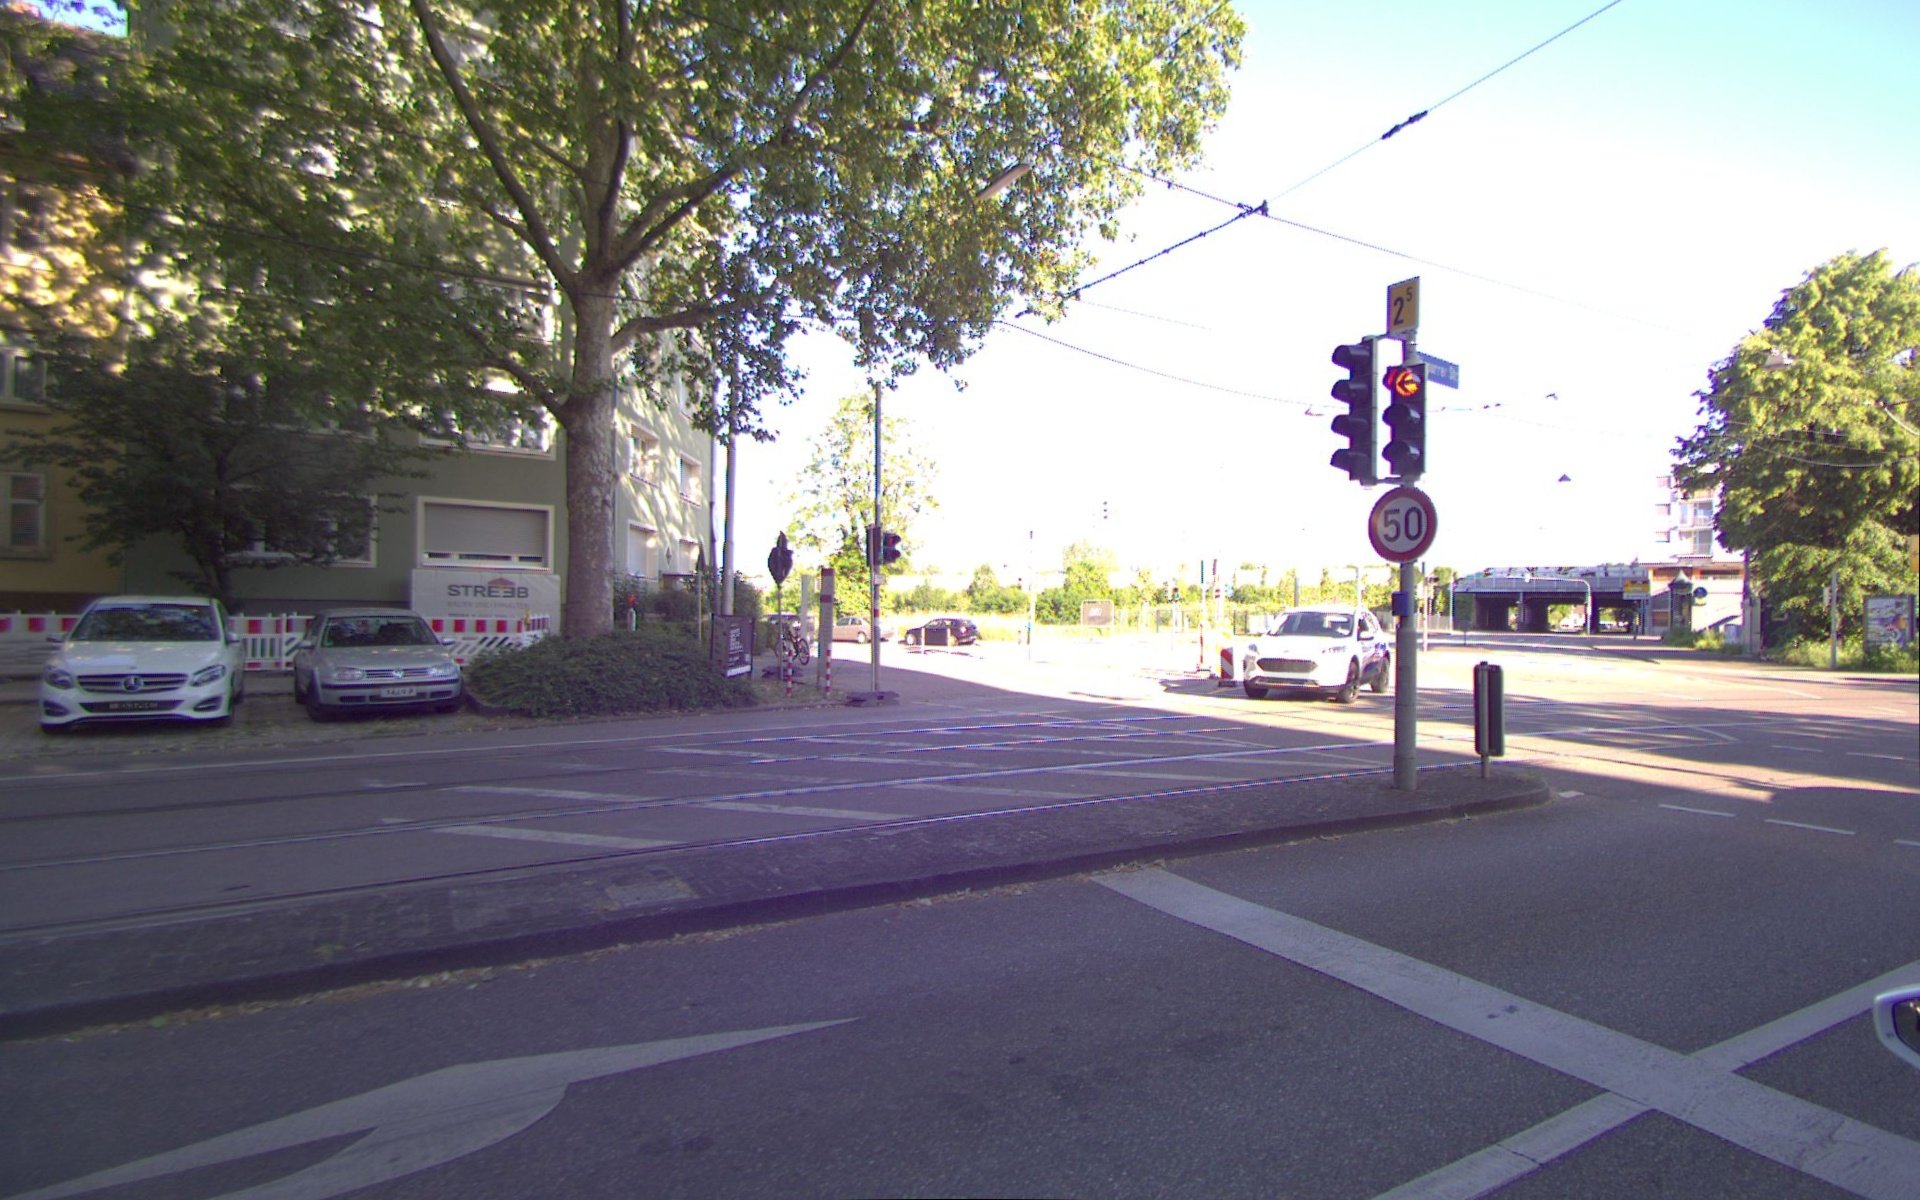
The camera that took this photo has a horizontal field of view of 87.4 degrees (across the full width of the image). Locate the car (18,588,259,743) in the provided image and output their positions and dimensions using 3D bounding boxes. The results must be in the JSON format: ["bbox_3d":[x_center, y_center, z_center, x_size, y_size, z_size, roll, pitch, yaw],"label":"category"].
[{"bbox_3d":[-10.348,0.717,12.977,1.824,1.633,4.048,2,0,-32],"label":"car"}]

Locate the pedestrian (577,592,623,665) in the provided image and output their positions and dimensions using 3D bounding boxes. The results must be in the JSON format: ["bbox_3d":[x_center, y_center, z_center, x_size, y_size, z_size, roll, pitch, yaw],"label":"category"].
[{"bbox_3d":[-7.978,0.621,22.282,0.591,1.589,0.741,1,0,31],"label":"pedestrian"}]

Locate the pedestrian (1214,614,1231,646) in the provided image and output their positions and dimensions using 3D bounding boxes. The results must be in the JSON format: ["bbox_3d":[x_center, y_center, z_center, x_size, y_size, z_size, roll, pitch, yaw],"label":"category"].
[{"bbox_3d":[13.575,1.534,51.956,0.591,1.617,0.683,2,0,33],"label":"pedestrian"}]

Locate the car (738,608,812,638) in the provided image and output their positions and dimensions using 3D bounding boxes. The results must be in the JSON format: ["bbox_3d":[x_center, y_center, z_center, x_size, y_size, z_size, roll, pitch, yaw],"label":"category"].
[{"bbox_3d":[-10.783,1.334,58.582,3.931,1.439,1.888,1,6,32],"label":"car"}]

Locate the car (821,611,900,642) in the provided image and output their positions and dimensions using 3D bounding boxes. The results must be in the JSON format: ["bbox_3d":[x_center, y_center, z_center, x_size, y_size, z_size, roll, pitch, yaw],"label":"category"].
[{"bbox_3d":[-5.455,1.421,55.020,3.931,1.439,1.888,1,6,32],"label":"car"}]

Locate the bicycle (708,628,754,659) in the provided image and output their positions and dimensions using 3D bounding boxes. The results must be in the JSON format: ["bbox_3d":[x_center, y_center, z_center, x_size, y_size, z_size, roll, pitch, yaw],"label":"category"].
[{"bbox_3d":[-5.978,1.127,26.299,0.351,0.769,1.781,1,-1,16],"label":"bicycle"}]

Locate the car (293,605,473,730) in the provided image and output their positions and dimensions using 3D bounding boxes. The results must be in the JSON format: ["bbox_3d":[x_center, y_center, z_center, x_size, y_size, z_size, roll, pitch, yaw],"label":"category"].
[{"bbox_3d":[-8.402,0.863,14.456,1.689,1.436,3.956,2,0,-38],"label":"car"}]

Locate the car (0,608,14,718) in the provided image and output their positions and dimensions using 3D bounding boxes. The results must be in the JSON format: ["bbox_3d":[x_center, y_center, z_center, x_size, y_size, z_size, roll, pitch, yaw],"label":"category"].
[{"bbox_3d":[-12.247,0.811,11.061,1.824,1.387,4.048,2,0,-32],"label":"car"}]

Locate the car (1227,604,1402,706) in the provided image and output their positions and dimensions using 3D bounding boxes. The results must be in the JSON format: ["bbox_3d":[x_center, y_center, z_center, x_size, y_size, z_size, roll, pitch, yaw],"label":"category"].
[{"bbox_3d":[6.729,0.931,18.738,1.967,1.653,4.616,0,-1,34],"label":"car"}]

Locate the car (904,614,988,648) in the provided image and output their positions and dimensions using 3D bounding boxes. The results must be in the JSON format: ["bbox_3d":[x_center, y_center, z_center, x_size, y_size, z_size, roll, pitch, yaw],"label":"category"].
[{"bbox_3d":[-0.711,1.568,52.000,3.931,1.439,1.888,1,6,32],"label":"car"}]

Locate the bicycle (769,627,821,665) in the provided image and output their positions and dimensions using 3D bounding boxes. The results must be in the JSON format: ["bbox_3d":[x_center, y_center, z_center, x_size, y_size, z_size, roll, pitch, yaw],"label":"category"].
[{"bbox_3d":[-4.179,1.138,25.362,0.356,0.900,1.757,1,-1,-43],"label":"bicycle"}]

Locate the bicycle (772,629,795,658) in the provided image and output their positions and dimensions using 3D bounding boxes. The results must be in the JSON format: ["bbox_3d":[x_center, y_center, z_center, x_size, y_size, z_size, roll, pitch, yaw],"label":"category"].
[{"bbox_3d":[-4.978,1.227,28.453,0.351,0.769,1.780,1,-1,-1],"label":"bicycle"}]
